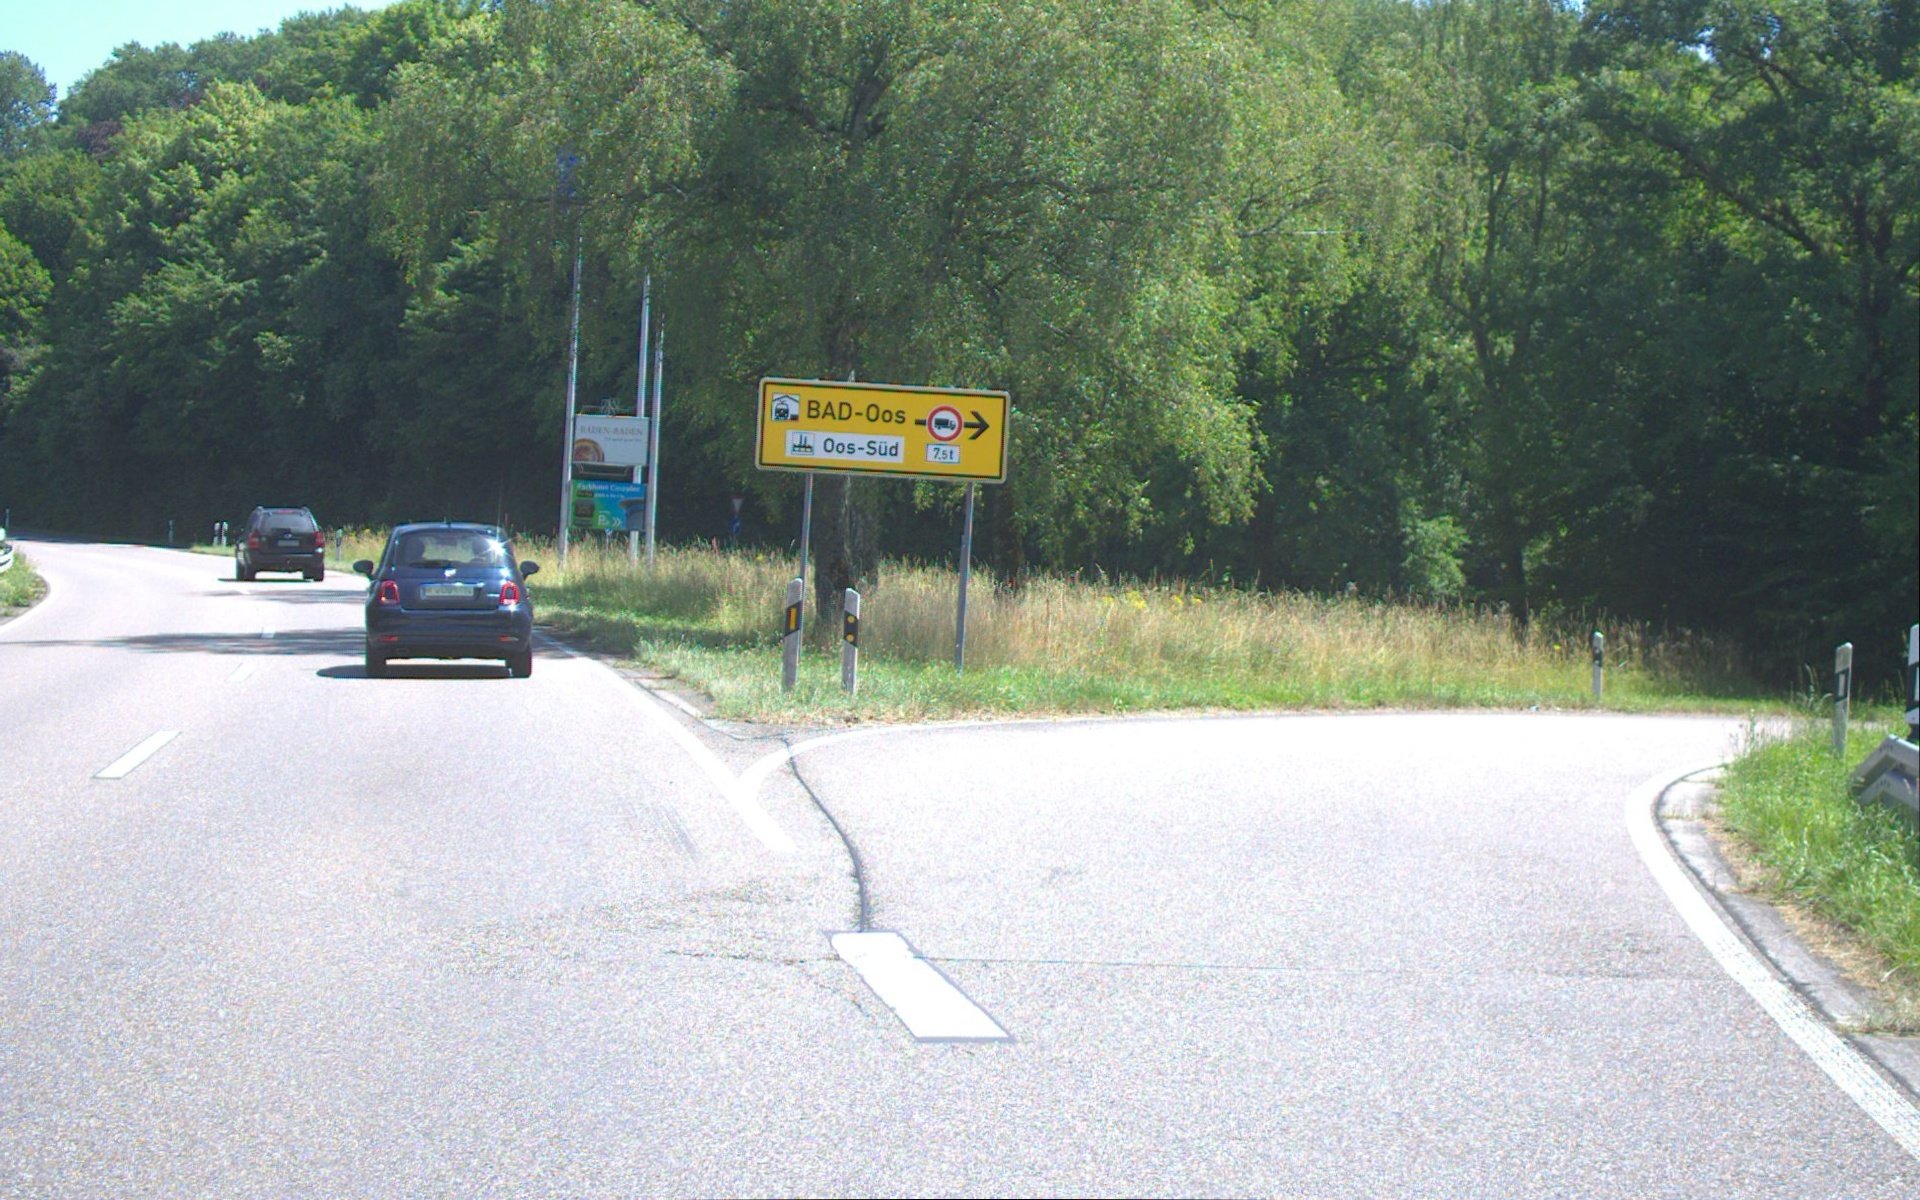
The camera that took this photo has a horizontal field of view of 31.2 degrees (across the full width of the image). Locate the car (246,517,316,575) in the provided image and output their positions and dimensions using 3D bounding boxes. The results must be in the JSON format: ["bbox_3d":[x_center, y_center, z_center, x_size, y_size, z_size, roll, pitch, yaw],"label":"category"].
[{"bbox_3d":[-15.755,-1.258,79.696,1.525,1.309,3.416,0,1,-12],"label":"car"}]

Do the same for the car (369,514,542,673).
[{"bbox_3d":[-5.007,-0.095,34.413,1.513,1.495,3.591,1,1,-5],"label":"car"}]
